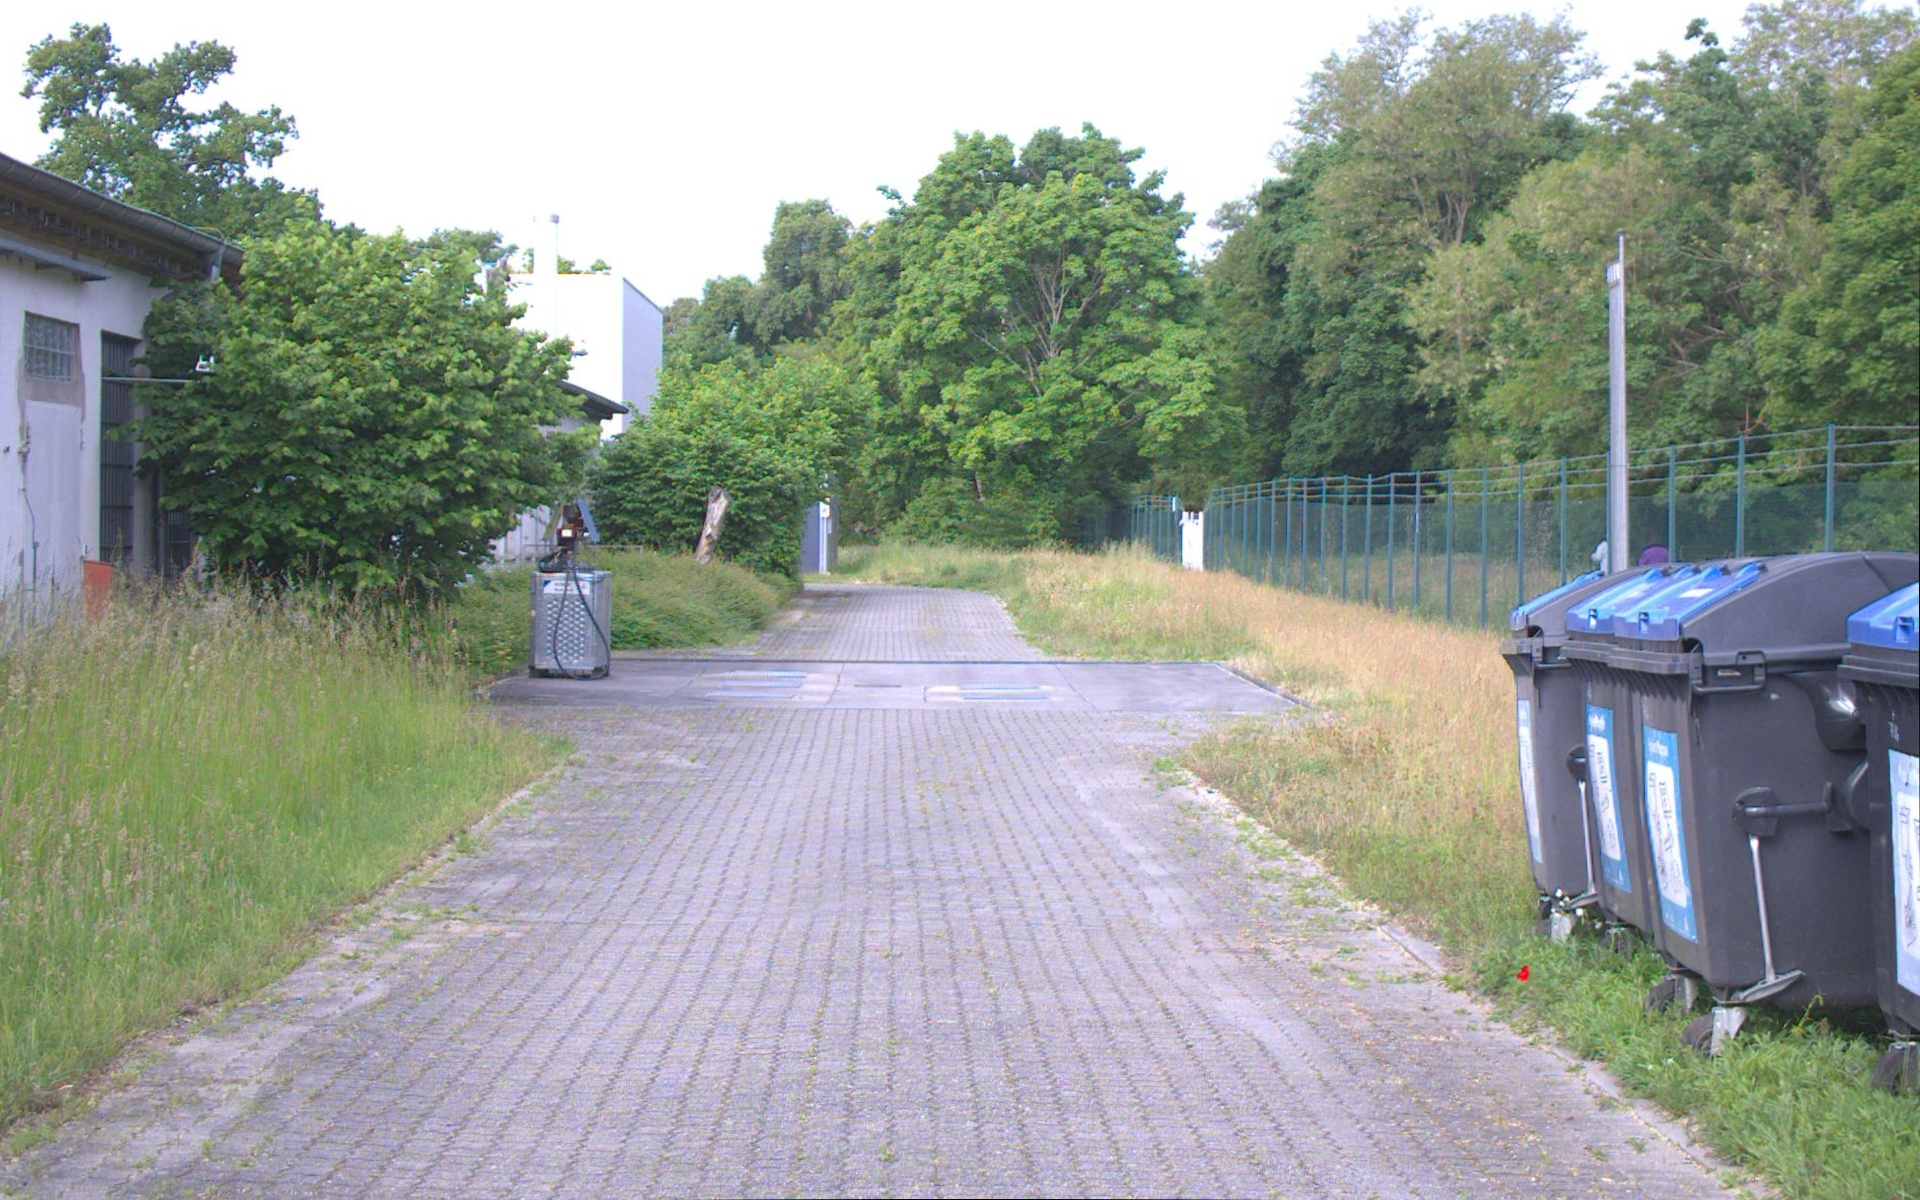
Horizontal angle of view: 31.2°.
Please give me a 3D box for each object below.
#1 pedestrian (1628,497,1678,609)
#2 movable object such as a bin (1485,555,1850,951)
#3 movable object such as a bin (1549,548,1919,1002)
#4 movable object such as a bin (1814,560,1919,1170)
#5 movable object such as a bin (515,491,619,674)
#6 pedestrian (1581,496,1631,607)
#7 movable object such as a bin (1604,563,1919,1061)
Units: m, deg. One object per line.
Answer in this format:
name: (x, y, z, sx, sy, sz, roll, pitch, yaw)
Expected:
pedestrian: (12.473, -0.851, 61.877, 0.759, 2.007, 0.664, 0, 1, -2)
movable object such as a bin: (2.541, 0.517, 12.544, 1.123, 1.346, 1.425, 1, 1, 5)
movable object such as a bin: (2.548, 0.527, 11.167, 1.123, 1.374, 1.325, 1, 1, 5)
movable object such as a bin: (2.779, 0.593, 8.363, 1.123, 1.369, 1.493, 1, 1, 5)
movable object such as a bin: (-4.304, -0.198, 37.710, 0.935, 1.975, 0.853, 0, 1, 8)
pedestrian: (11.679, -0.882, 62.173, 0.759, 2.007, 0.664, 0, 1, -2)
movable object such as a bin: (2.484, 0.561, 9.866, 1.123, 1.317, 1.325, 0, 1, 5)
